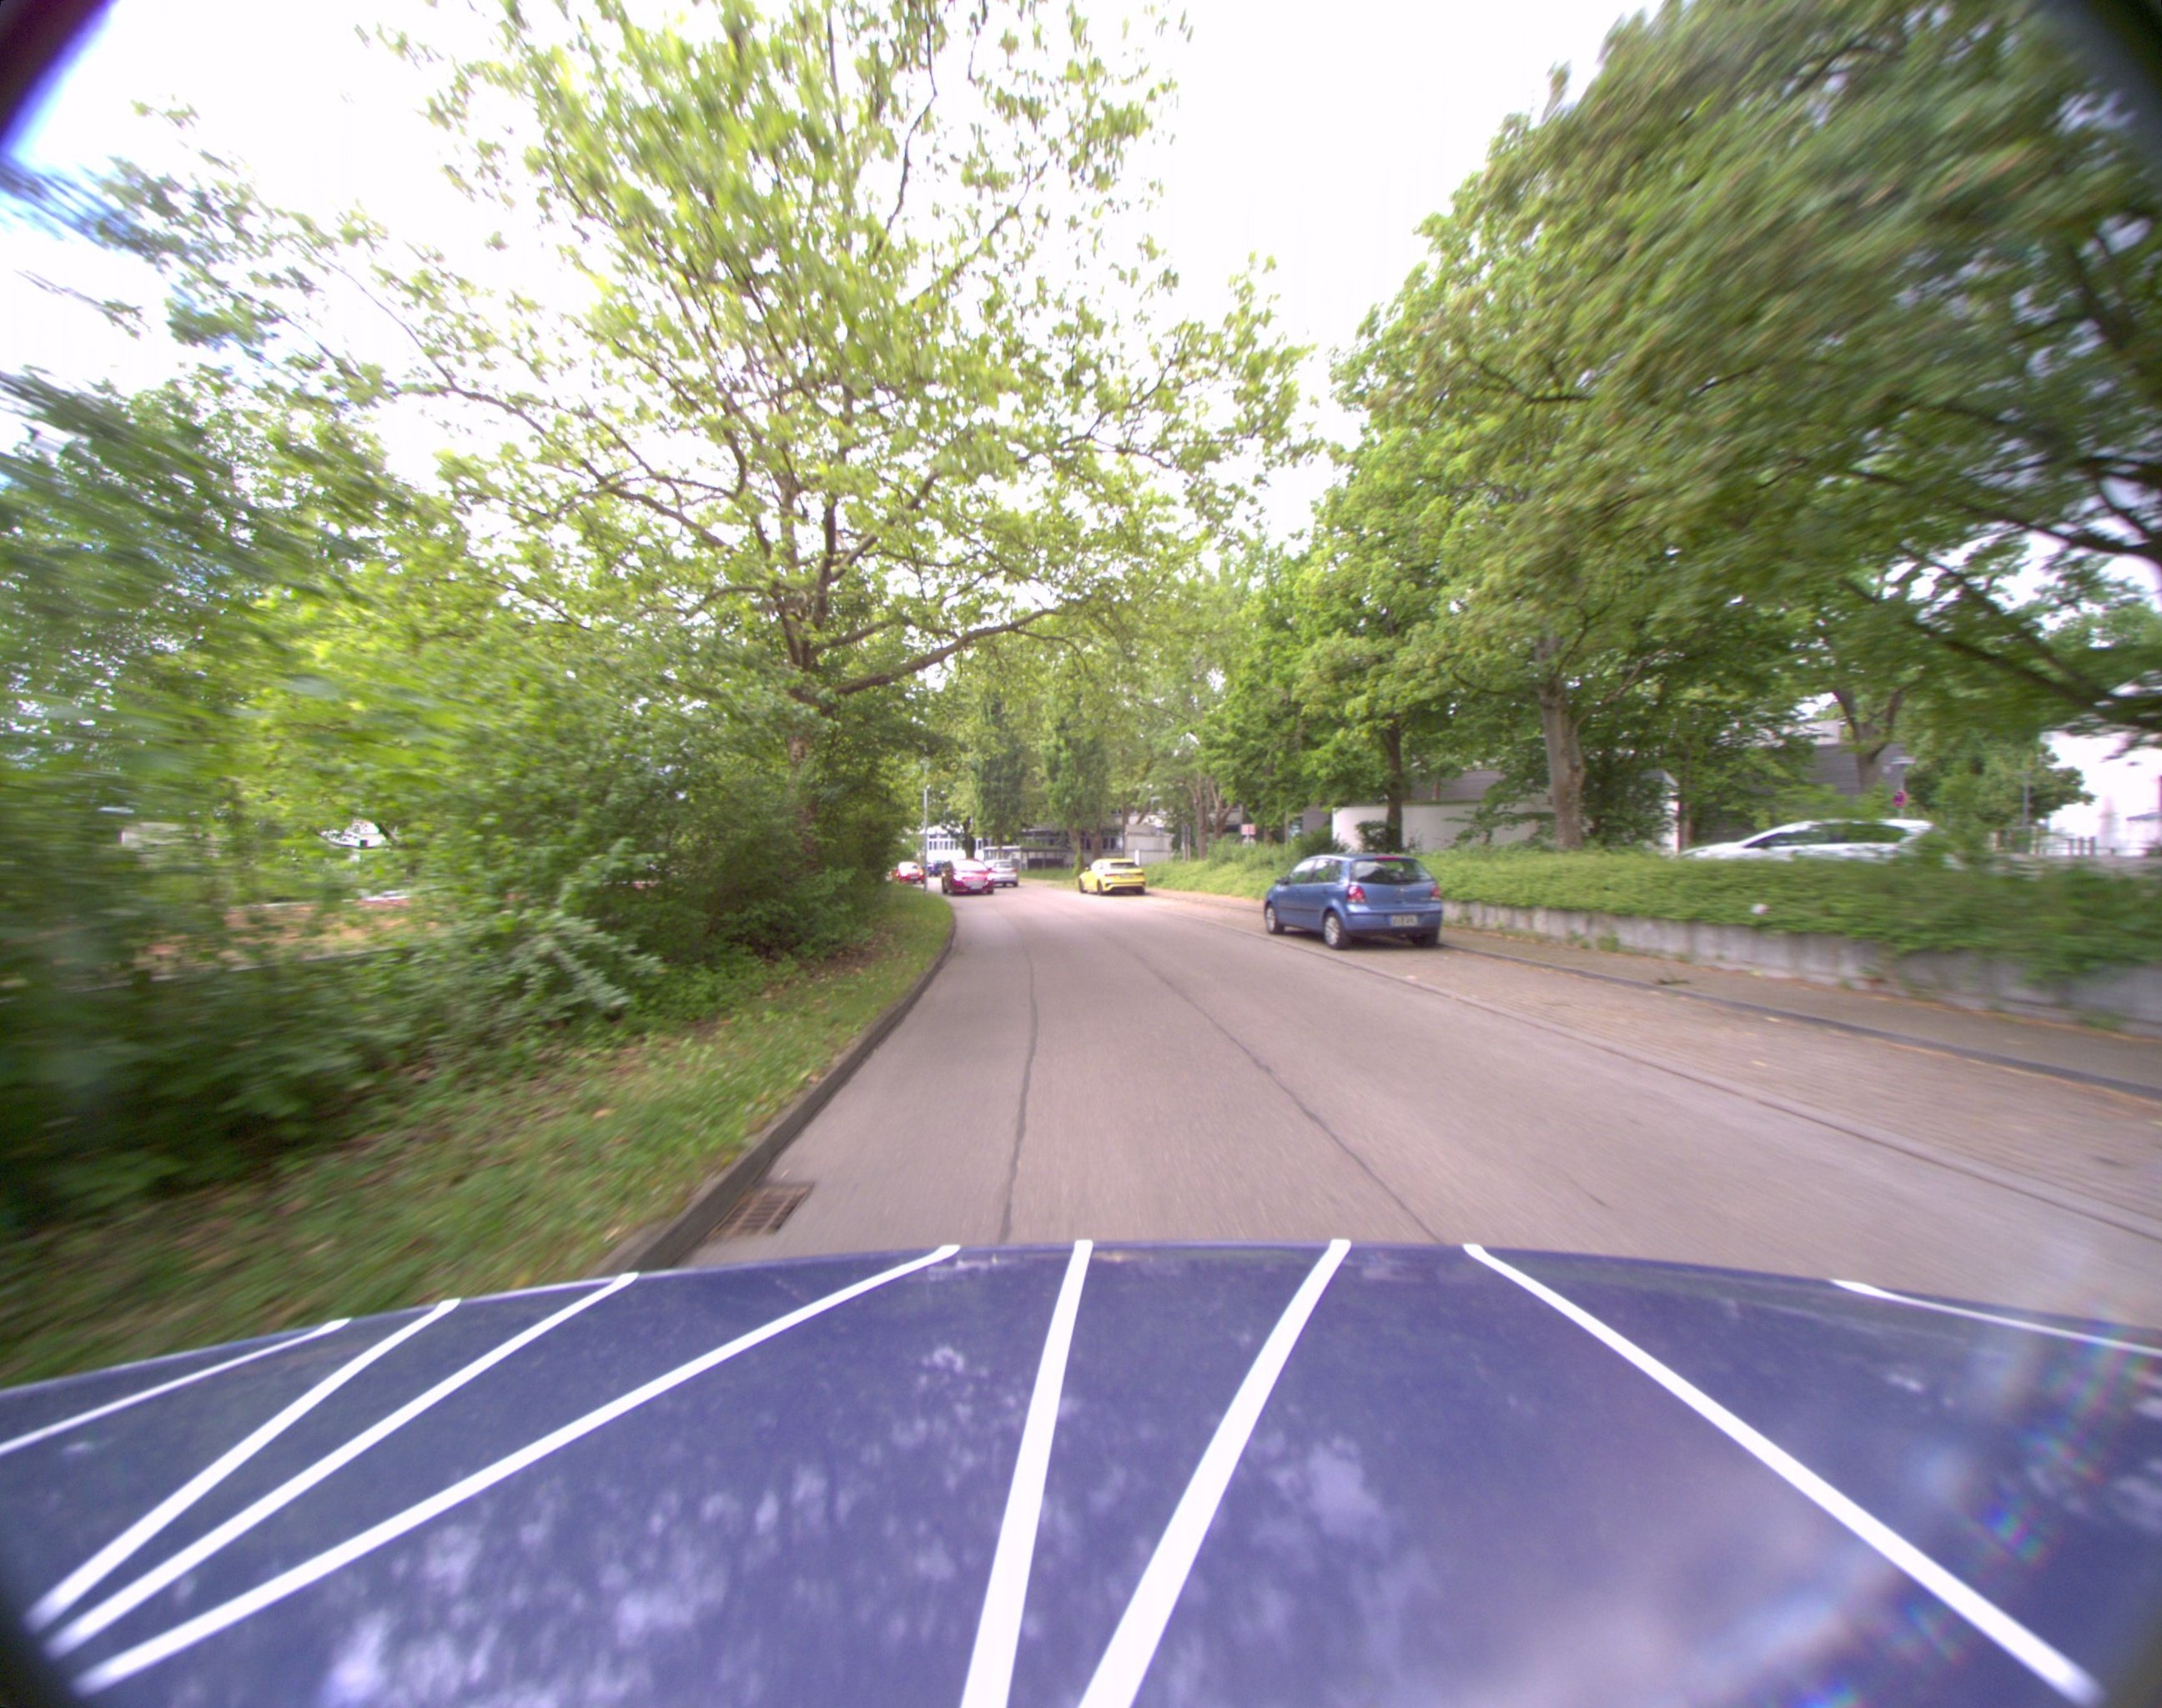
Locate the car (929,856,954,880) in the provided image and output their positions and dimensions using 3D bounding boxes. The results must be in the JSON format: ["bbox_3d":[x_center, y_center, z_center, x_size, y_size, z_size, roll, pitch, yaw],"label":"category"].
[{"bbox_3d":[-12.032,1.164,65.500,2.000,1.865,3.996,-2,1,-11],"label":"car"}]

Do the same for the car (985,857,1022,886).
[{"bbox_3d":[-4.184,0.931,41.704,1.853,1.483,4.085,-1,0,-4],"label":"car"}]

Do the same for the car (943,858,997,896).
[{"bbox_3d":[-5.165,0.997,34.965,1.947,1.550,4.350,-2,0,-14],"label":"car"}]

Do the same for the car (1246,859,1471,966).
[{"bbox_3d":[4.422,0.845,12.846,1.854,1.483,3.997,-1,0,-9],"label":"car"}]

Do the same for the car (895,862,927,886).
[{"bbox_3d":[-11.481,1.326,51.533,1.949,1.522,4.083,-2,0,-10],"label":"car"}]

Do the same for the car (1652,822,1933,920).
[{"bbox_3d":[13.699,0.298,14.795,2.004,1.628,3.801,-3,1,-42],"label":"car"}]

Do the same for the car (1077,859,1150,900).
[{"bbox_3d":[1.218,0.954,30.363,1.855,1.483,3.995,-1,0,-14],"label":"car"}]
